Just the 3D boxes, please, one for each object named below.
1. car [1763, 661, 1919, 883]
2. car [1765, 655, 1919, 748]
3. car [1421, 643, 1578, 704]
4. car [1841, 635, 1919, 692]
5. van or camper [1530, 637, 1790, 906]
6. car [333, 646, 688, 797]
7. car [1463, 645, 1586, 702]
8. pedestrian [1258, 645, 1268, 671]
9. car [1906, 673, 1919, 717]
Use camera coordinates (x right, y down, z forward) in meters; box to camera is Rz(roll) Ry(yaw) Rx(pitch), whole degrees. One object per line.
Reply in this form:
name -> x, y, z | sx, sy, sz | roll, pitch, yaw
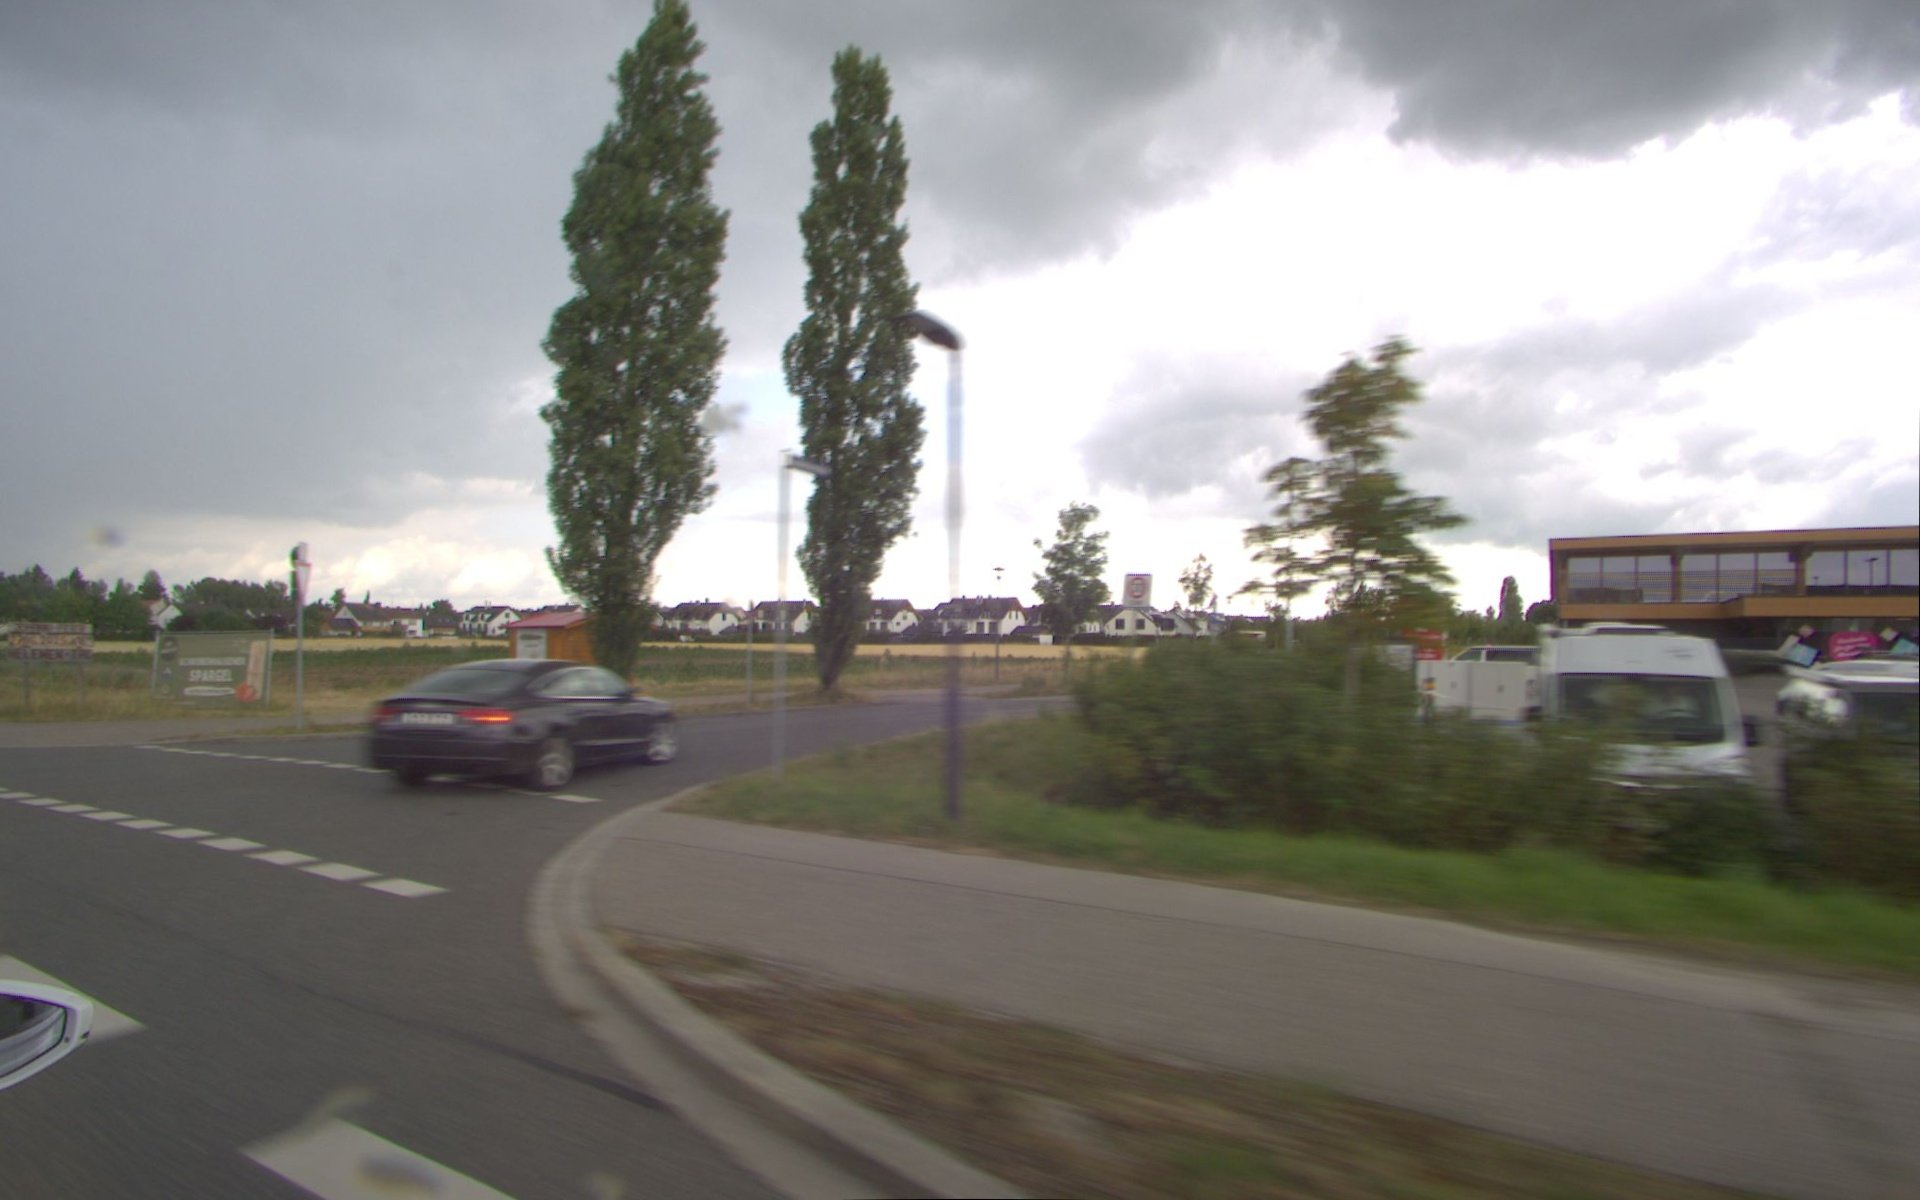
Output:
car -> 11.353, 1.889, 12.041 | 1.970, 2.040, 4.586 | 0, 0, 30
car -> 23.125, 2.487, 25.500 | 2.070, 1.931, 4.939 | 0, 0, 12
car -> 20.590, 2.749, 38.279 | 5.160, 2.040, 1.989 | -1, 0, 34
car -> 36.771, 2.464, 39.801 | 1.824, 2.037, 4.211 | 0, 0, 30
van or camper -> 8.937, 1.847, 13.414 | 2.247, 2.496, 6.458 | 0, 0, 30
car -> -5.028, 1.352, 12.032 | 1.796, 1.405, 4.392 | 2, -4, 8
car -> 22.736, 2.899, 40.392 | 4.227, 2.040, 1.989 | 0, 0, 34
pedestrian -> 21.693, 4.159, 71.657 | 0.591, 1.785, 0.481 | 0, 1, 32
car -> 33.194, 3.244, 33.313 | 1.748, 1.400, 3.456 | 0, 0, 30
